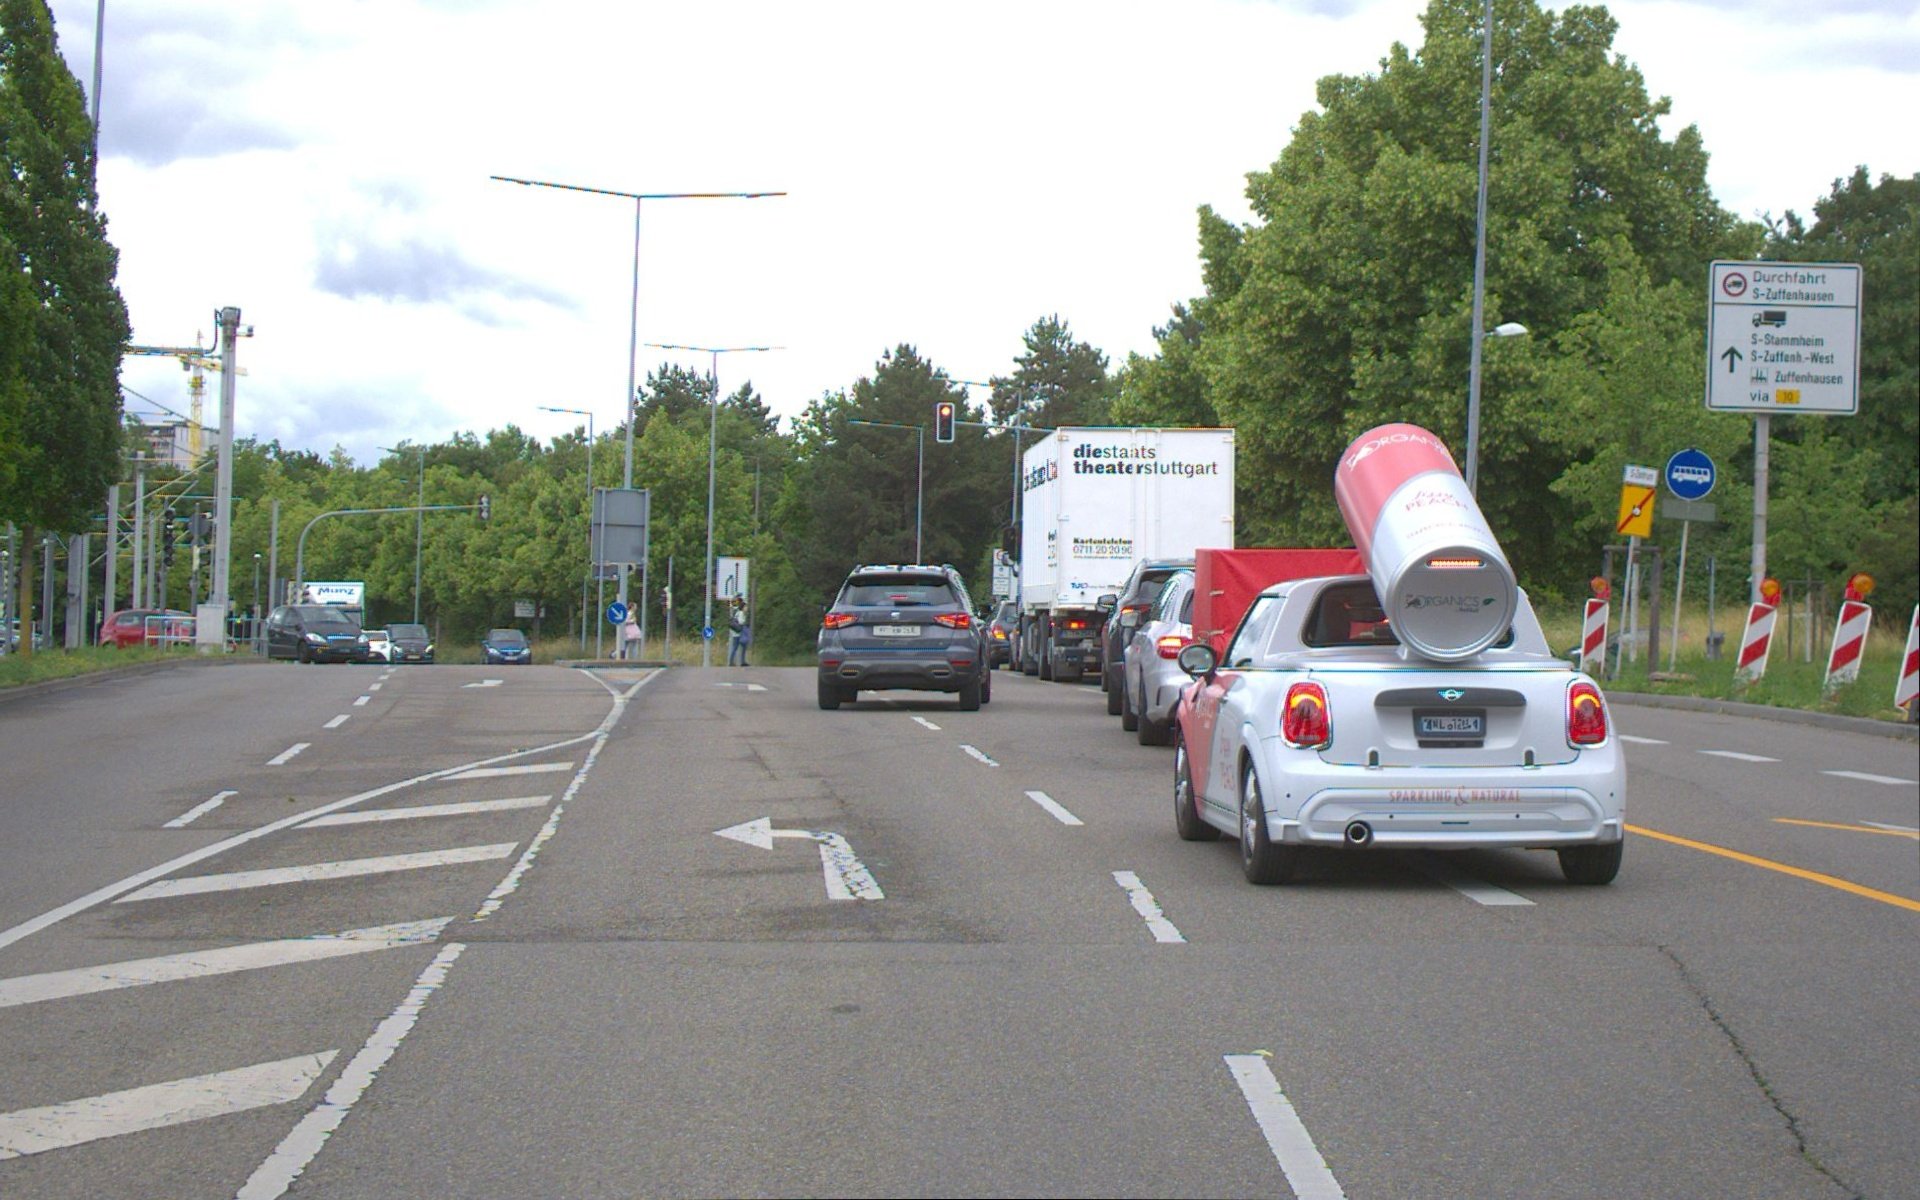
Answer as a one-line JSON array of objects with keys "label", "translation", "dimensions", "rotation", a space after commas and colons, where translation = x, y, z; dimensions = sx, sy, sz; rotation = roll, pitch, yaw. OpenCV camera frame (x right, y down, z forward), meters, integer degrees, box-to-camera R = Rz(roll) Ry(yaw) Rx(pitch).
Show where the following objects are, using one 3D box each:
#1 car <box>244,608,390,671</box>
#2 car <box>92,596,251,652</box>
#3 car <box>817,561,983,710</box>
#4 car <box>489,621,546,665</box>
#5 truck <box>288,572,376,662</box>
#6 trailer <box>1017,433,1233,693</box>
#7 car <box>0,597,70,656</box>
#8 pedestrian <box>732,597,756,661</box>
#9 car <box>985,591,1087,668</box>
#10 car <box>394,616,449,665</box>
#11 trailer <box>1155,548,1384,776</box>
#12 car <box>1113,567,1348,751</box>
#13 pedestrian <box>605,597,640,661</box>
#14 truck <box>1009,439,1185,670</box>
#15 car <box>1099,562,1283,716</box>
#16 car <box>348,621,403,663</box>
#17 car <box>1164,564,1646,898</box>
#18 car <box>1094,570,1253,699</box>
[{"label": "car", "translation": [-16.744, 1.023, 89.521], "dimensions": [3.703, 1.568, 1.727], "rotation": [0, -1, 39]}, {"label": "car", "translation": [-22.034, 0.683, 96.093], "dimensions": [4.078, 1.483, 1.706], "rotation": [1, -1, 22]}, {"label": "car", "translation": [-0.688, 0.342, 37.358], "dimensions": [1.698, 1.481, 4.001], "rotation": [0, 1, -2]}, {"label": "car", "translation": [-17.815, 1.707, 138.486], "dimensions": [1.915, 1.571, 4.001], "rotation": [1, 2, -2]}, {"label": "truck", "translation": [-26.779, 0.669, 146.307], "dimensions": [2.659, 3.637, 9.505], "rotation": [2, 0, -16]}, {"label": "trailer", "translation": [2.423, -0.660, 53.075], "dimensions": [2.565, 3.692, 7.765], "rotation": [0, 2, -3]}, {"label": "car", "translation": [-27.632, 0.729, 97.863], "dimensions": [3.988, 1.590, 2.000], "rotation": [1, 2, 6]}, {"label": "pedestrian", "translation": [-5.525, 0.742, 87.806], "dimensions": [0.586, 1.616, 0.423], "rotation": [0, 2, -5]}, {"label": "car", "translation": [1.443, 0.546, 66.492], "dimensions": [1.812, 1.349, 4.118], "rotation": [0, 1, -1]}, {"label": "car", "translation": [-22.613, 1.719, 144.533], "dimensions": [1.915, 1.722, 3.999], "rotation": [1, -5, -4]}, {"label": "trailer", "translation": [2.260, 0.420, 25.753], "dimensions": [1.409, 1.588, 3.303], "rotation": [0, 0, 0]}, {"label": "car", "translation": [2.256, 0.462, 29.652], "dimensions": [1.671, 1.442, 4.489], "rotation": [1, 0, 0]}, {"label": "pedestrian", "translation": [-8.397, 0.717, 85.578], "dimensions": [0.863, 1.555, 0.518], "rotation": [0, 2, -5]}, {"label": "truck", "translation": [2.227, -0.794, 57.308], "dimensions": [2.570, 3.692, 4.107], "rotation": [0, 2, -2]}, {"label": "car", "translation": [2.414, 0.376, 36.772], "dimensions": [1.845, 1.556, 4.404], "rotation": [0, 0, 2]}, {"label": "car", "translation": [-23.403, 1.682, 137.782], "dimensions": [1.775, 1.503, 3.747], "rotation": [-1, 2, -4]}, {"label": "car", "translation": [2.068, 0.569, 16.969], "dimensions": [1.718, 1.452, 3.697], "rotation": [1, 0, -3]}, {"label": "car", "translation": [2.637, 0.414, 43.262], "dimensions": [1.707, 1.519, 4.319], "rotation": [0, 0, 0]}]
